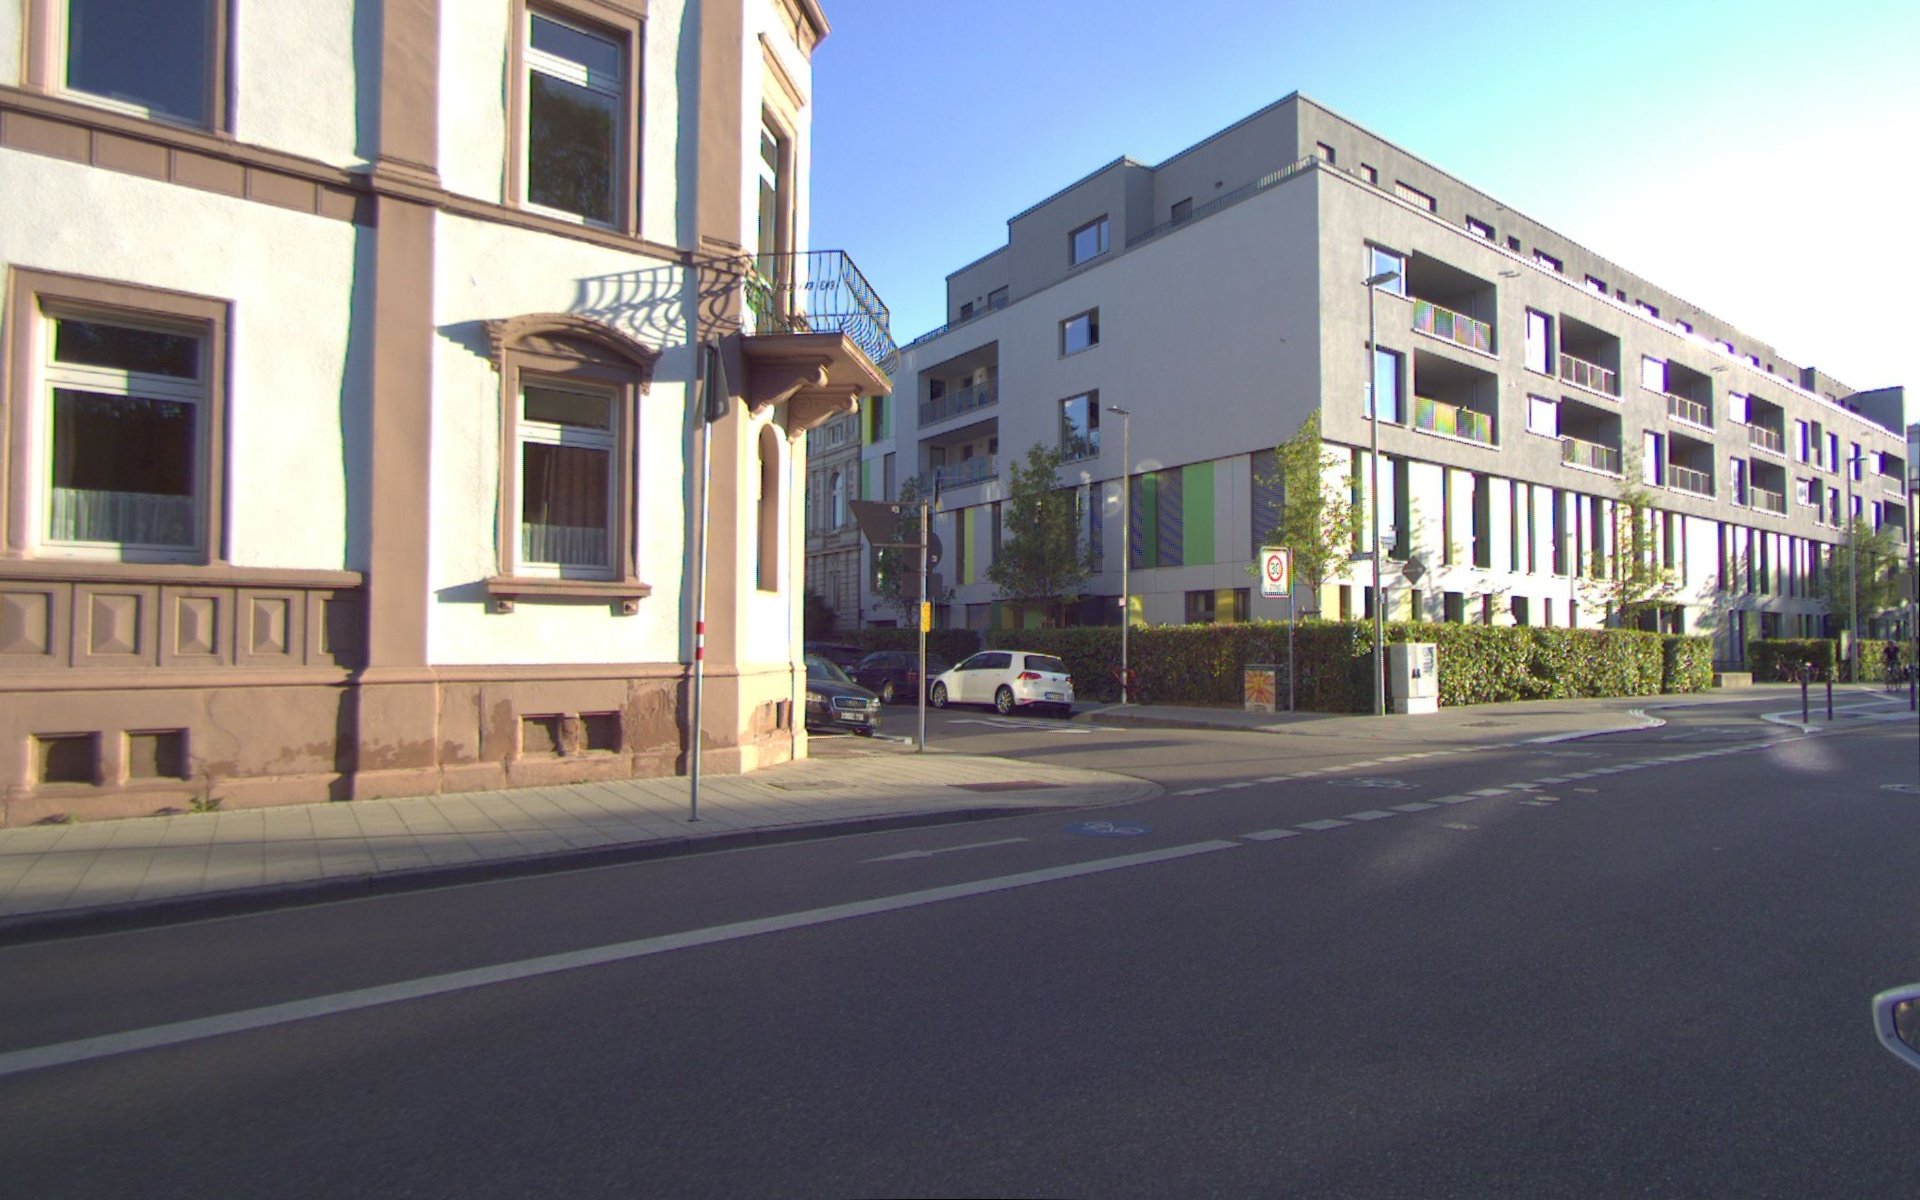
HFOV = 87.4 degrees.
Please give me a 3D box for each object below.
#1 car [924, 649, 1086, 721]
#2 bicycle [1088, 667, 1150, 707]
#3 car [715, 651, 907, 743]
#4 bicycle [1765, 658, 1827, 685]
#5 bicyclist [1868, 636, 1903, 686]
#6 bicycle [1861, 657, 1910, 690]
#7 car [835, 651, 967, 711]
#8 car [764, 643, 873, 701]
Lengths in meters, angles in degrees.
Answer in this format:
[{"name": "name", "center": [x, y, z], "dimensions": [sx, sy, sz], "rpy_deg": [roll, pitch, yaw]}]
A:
[{"name": "car", "center": [0.968, 1.946, 23.578], "dimensions": [1.801, 1.456, 3.883], "rpy_deg": [7, -6, -33]}, {"name": "bicycle", "center": [3.859, 2.107, 24.489], "dimensions": [0.507, 0.904, 1.587], "rpy_deg": [2, -3, -36]}, {"name": "car", "center": [-2.830, 1.692, 18.484], "dimensions": [1.887, 1.457, 3.878], "rpy_deg": [2, -3, -37]}, {"name": "bicycle", "center": [31.855, 2.704, 38.286], "dimensions": [0.612, 0.930, 1.738], "rpy_deg": [2, -2, -37]}, {"name": "bicyclist", "center": [31.357, 2.062, 34.022], "dimensions": [0.748, 1.666, 0.624], "rpy_deg": [1, -3, -29]}, {"name": "bicycle", "center": [31.329, 2.466, 33.994], "dimensions": [1.860, 1.092, 0.631], "rpy_deg": [1, -3, -29]}, {"name": "car", "center": [-1.654, 2.144, 26.990], "dimensions": [1.736, 1.394, 3.883], "rpy_deg": [7, -6, -33]}, {"name": "car", "center": [-4.438, 2.207, 31.146], "dimensions": [1.736, 1.576, 3.883], "rpy_deg": [7, -6, -33]}]
